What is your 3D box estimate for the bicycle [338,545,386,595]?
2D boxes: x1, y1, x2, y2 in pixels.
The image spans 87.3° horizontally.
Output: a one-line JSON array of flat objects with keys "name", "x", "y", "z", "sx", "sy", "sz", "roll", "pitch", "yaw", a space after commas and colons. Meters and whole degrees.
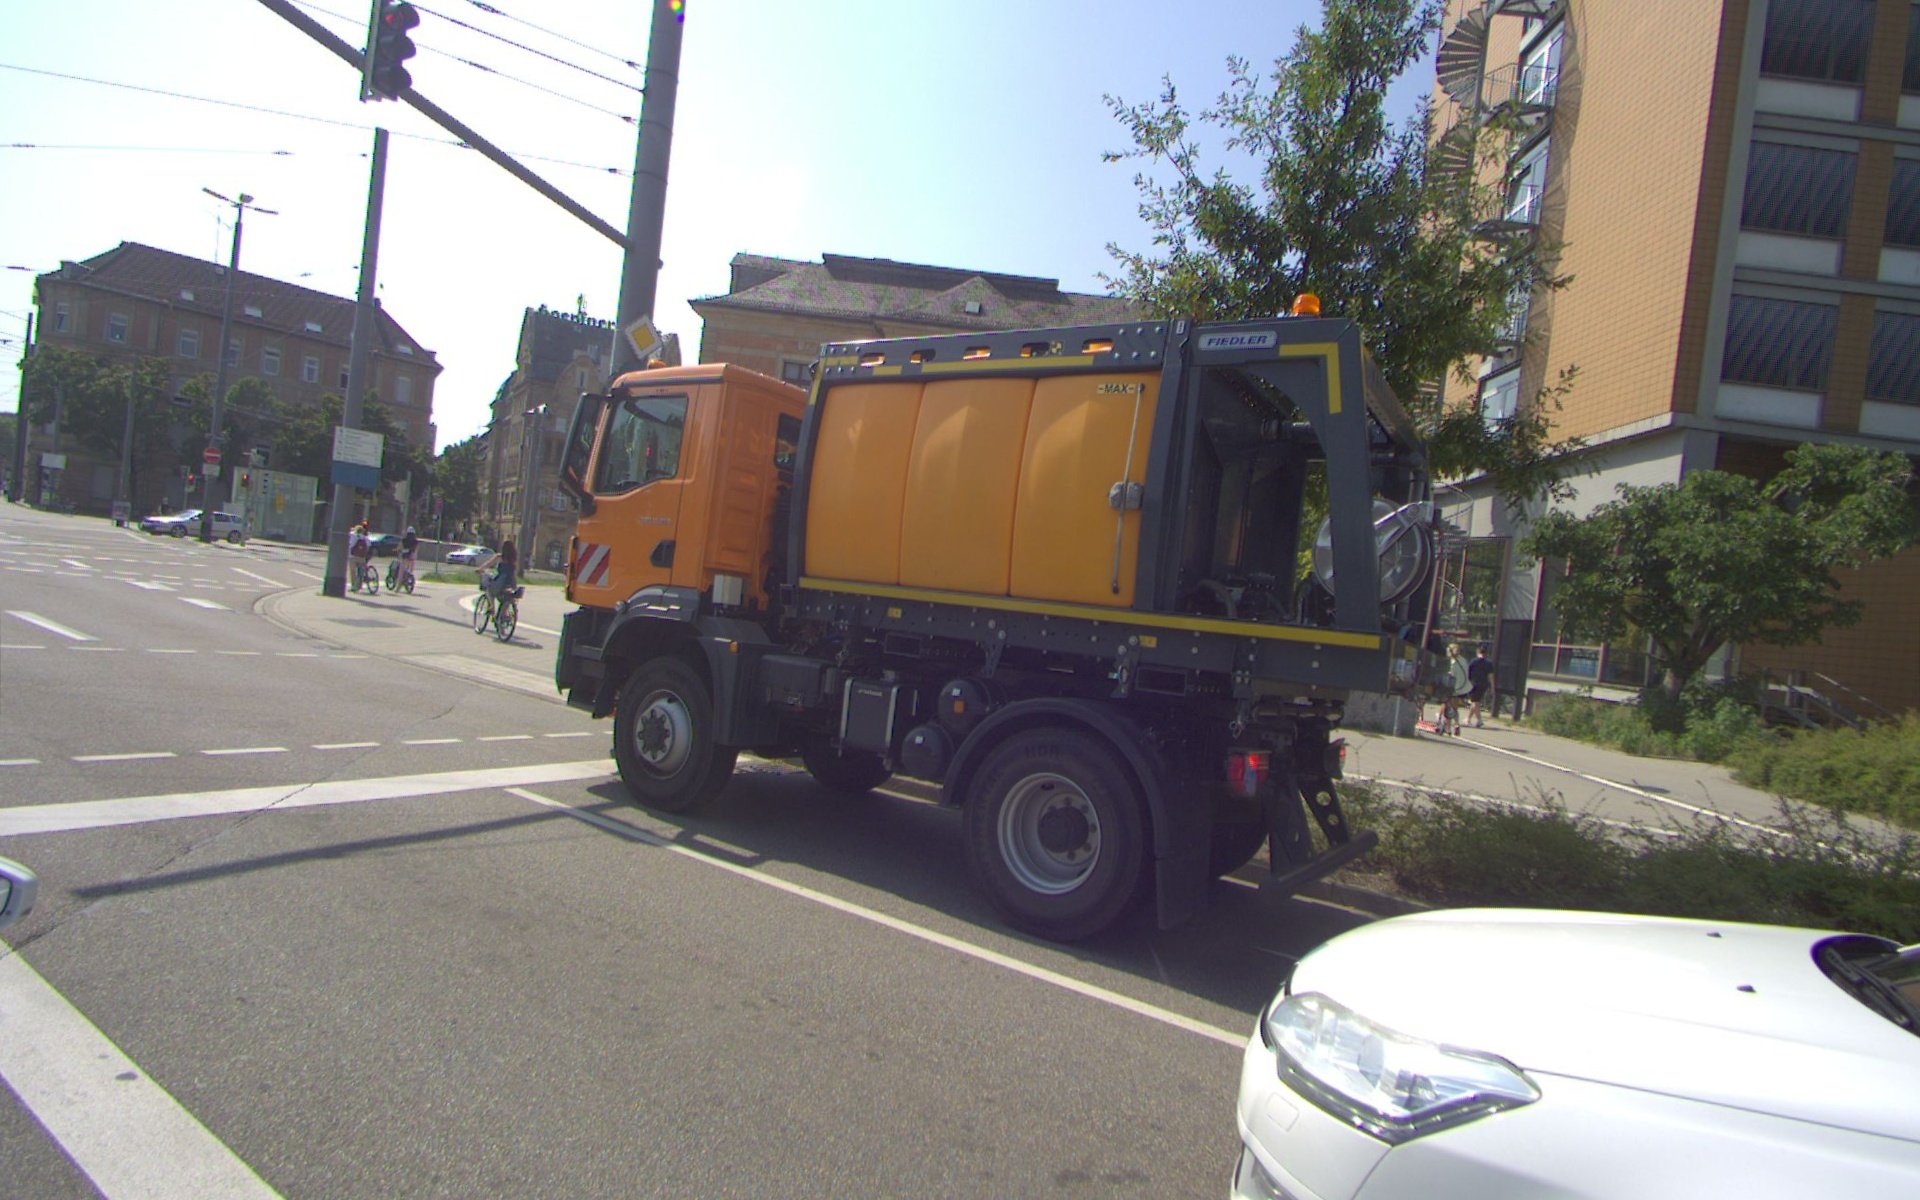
[{"name": "bicycle", "x": -14.612, "y": -0.744, "z": 24.579, "sx": 1.632, "sy": 1.068, "sz": 0.535, "roll": 7, "pitch": 1, "yaw": 44}]

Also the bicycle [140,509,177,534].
[{"name": "bicycle", "x": -40.567, "y": -3.958, "z": 50.912, "sx": 1.622, "sy": 1.068, "sz": 0.471, "roll": 7, "pitch": 1, "yaw": 11}]

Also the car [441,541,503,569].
[{"name": "car", "x": -33.545, "y": -3.079, "z": 69.278, "sx": 1.742, "sy": 1.433, "sz": 4.203, "roll": 7, "pitch": 0, "yaw": 7}]

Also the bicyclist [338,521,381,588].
[{"name": "bicyclist", "x": -14.767, "y": -1.118, "z": 24.725, "sx": 0.702, "sy": 1.537, "sz": 0.626, "roll": 7, "pitch": 1, "yaw": 44}]

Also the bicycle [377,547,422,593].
[{"name": "bicycle", "x": -14.906, "y": -0.795, "z": 26.737, "sx": 1.632, "sy": 1.068, "sz": 0.535, "roll": 7, "pitch": 1, "yaw": 44}]

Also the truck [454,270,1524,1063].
[{"name": "truck", "x": -0.240, "y": 0.066, "z": 6.922, "sx": 6.751, "sy": 3.171, "sz": 2.495, "roll": 7, "pitch": -2, "yaw": 34}]

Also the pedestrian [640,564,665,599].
[{"name": "pedestrian", "x": -13.390, "y": -0.802, "z": 43.820, "sx": 0.679, "sy": 1.417, "sz": 0.767, "roll": 7, "pitch": 1, "yaw": 7}]

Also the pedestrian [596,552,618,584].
[{"name": "pedestrian", "x": -14.499, "y": -1.297, "z": 41.299, "sx": 0.660, "sy": 1.229, "sz": 0.523, "roll": 6, "pitch": 1, "yaw": -30}]

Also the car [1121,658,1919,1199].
[{"name": "car", "x": 2.702, "y": 1.111, "z": 1.438, "sx": 4.534, "sy": 1.446, "sz": 1.770, "roll": 7, "pitch": 0, "yaw": 33}]

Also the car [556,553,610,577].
[{"name": "car", "x": -31.675, "y": -2.915, "z": 84.681, "sx": 1.962, "sy": 1.523, "sz": 4.628, "roll": 7, "pitch": 0, "yaw": 11}]

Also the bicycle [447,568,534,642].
[{"name": "bicycle", "x": -8.136, "y": 0.072, "z": 17.405, "sx": 1.794, "sy": 1.068, "sz": 0.492, "roll": 7, "pitch": 1, "yaw": 37}]

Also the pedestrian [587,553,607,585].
[{"name": "pedestrian", "x": -18.796, "y": -1.594, "z": 52.095, "sx": 0.727, "sy": 1.595, "sz": 0.787, "roll": 6, "pitch": 1, "yaw": -14}]

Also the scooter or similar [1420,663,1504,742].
[{"name": "scooter or similar", "x": 9.480, "y": 1.932, "z": 19.023, "sx": 1.162, "sy": 1.294, "sz": 0.648, "roll": 6, "pitch": -1, "yaw": 44}]

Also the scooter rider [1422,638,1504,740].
[{"name": "scooter rider", "x": 9.511, "y": 1.682, "z": 19.038, "sx": 1.027, "sy": 1.779, "sz": 0.856, "roll": 6, "pitch": -2, "yaw": 44}]

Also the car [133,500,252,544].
[{"name": "car", "x": -36.771, "y": -3.706, "z": 48.318, "sx": 1.743, "sy": 1.433, "sz": 4.187, "roll": 7, "pitch": 0, "yaw": 23}]

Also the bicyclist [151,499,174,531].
[{"name": "bicyclist", "x": -40.340, "y": -4.296, "z": 50.881, "sx": 0.511, "sy": 1.548, "sz": 0.613, "roll": 7, "pitch": 1, "yaw": 8}]

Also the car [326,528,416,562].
[{"name": "car", "x": -34.670, "y": -3.220, "z": 59.382, "sx": 1.742, "sy": 1.433, "sz": 4.771, "roll": 7, "pitch": 0, "yaw": 12}]

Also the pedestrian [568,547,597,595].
[{"name": "pedestrian", "x": -14.719, "y": -1.126, "z": 39.205, "sx": 0.808, "sy": 1.746, "sz": 0.545, "roll": 6, "pitch": 1, "yaw": -9}]

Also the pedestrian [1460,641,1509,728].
[{"name": "pedestrian", "x": 12.053, "y": 1.930, "z": 23.122, "sx": 0.617, "sy": 1.895, "sz": 0.837, "roll": 6, "pitch": 1, "yaw": 13}]

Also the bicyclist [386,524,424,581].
[{"name": "bicyclist", "x": -14.614, "y": -1.249, "z": 26.467, "sx": 0.882, "sy": 1.410, "sz": 0.529, "roll": 7, "pitch": 1, "yaw": 44}]

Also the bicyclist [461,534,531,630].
[{"name": "bicyclist", "x": -7.967, "y": -0.309, "z": 17.274, "sx": 0.653, "sy": 1.537, "sz": 0.734, "roll": 7, "pitch": 1, "yaw": 36}]
